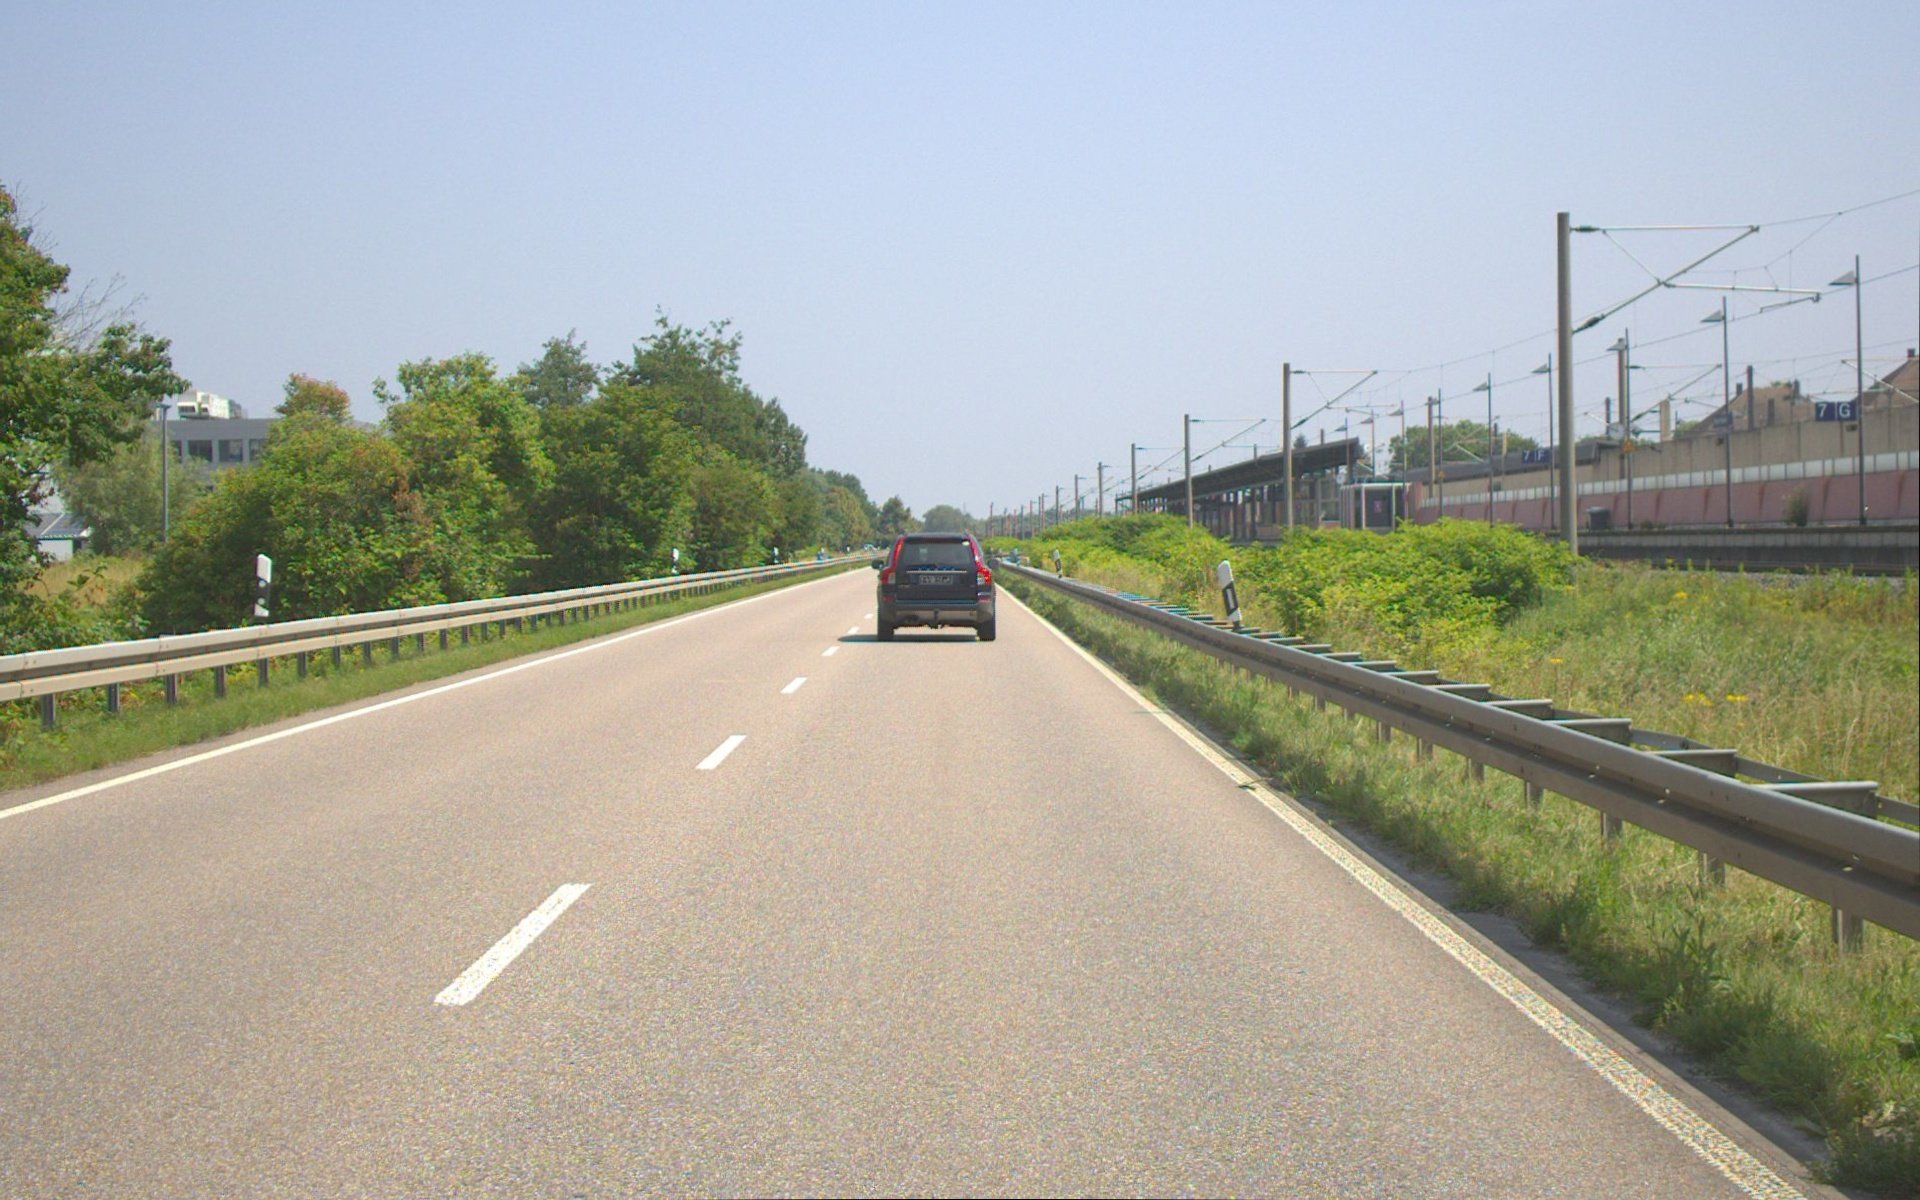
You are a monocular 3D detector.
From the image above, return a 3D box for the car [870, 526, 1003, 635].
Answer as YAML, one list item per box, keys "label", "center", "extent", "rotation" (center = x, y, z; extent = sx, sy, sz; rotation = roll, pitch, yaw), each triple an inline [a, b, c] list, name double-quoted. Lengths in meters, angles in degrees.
- label: "car"
  center: [-0.411, -0.330, 55.352]
  extent: [1.993, 1.694, 4.001]
  rotation: [0, 1, -3]
